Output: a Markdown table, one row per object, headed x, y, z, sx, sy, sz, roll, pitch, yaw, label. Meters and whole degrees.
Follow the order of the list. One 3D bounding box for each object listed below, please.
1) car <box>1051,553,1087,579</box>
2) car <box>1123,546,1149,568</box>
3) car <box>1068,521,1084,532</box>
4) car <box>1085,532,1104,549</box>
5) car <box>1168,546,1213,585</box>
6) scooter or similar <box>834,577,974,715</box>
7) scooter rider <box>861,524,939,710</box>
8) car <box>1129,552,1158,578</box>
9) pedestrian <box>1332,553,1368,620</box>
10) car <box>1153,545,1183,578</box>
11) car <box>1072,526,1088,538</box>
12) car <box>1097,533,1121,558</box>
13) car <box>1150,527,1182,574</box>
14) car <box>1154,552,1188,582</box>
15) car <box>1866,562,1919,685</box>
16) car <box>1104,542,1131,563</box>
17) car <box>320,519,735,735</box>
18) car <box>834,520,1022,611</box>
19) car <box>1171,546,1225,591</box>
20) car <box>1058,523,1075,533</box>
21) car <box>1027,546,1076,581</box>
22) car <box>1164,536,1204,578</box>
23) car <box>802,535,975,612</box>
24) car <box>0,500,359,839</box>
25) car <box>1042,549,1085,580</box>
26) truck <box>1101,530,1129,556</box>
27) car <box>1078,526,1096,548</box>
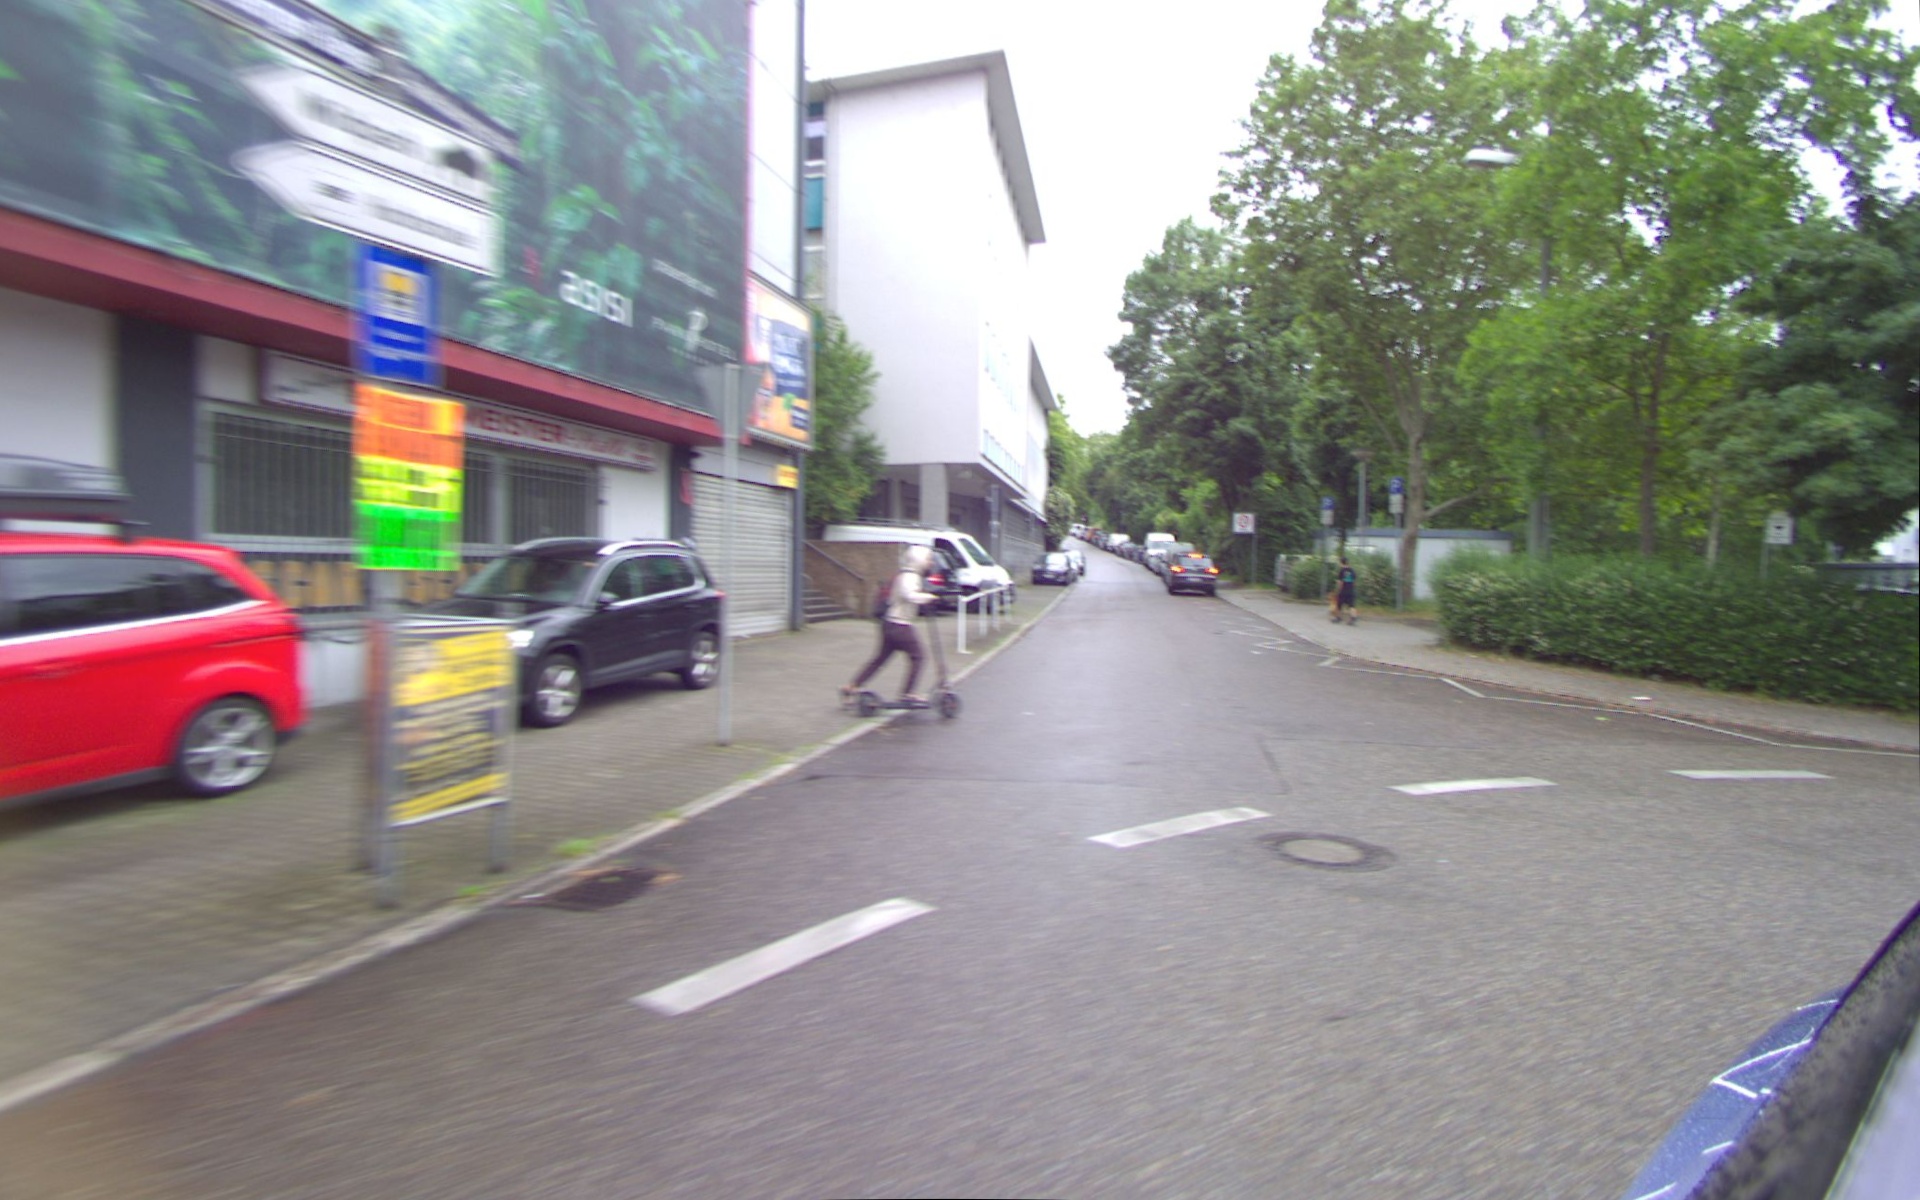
| x | y | z | sx | sy | sz | roll | pitch | yaw | label |
| --- | --- | --- | --- | --- | --- | --- | --- | --- | --- |
| 6.857 | -2.129 | 63.153 | 1.879 | 1.520 | 3.989 | 2 | 3 | 11 | car |
| 16.051 | -3.950 | 92.326 | 1.875 | 1.964 | 3.997 | 1 | 3 | 4 | car |
| 17.782 | -11.299 | 155.129 | 1.764 | 1.528 | 4.006 | 1 | 3 | -4 | car |
| 16.265 | -7.132 | 122.291 | 1.874 | 1.964 | 4.000 | 1 | 3 | 2 | car |
| 10.618 | -1.625 | 46.868 | 1.879 | 1.671 | 3.989 | 2 | 3 | 11 | car |
| -0.592 | 0.451 | 10.482 | 1.380 | 1.338 | 0.806 | 0 | 3 | -4 | scooter or similar |
| -0.633 | 0.149 | 10.463 | 0.766 | 1.843 | 0.806 | 0 | 3 | -5 | scooter rider |
| 15.167 | -2.942 | 83.798 | 1.875 | 2.059 | 3.997 | 1 | 3 | 4 | car |
| 9.534 | -0.343 | 24.766 | 0.693 | 1.586 | 0.620 | 1 | 3 | 14 | pedestrian |
| 13.701 | -2.537 | 66.818 | 1.879 | 2.059 | 3.989 | 2 | 3 | 11 | car |
| 16.547 | -9.296 | 139.317 | 1.766 | 1.528 | 4.001 | 1 | 3 | 1 | car |
| 16.384 | -6.016 | 111.443 | 1.757 | 2.660 | 4.005 | 1 | 3 | -3 | car |
| 15.091 | -3.638 | 74.259 | 2.188 | 3.322 | 5.065 | 2 | 3 | 11 | car |
| 12.526 | -1.995 | 60.197 | 1.879 | 1.671 | 3.989 | 2 | 3 | 11 | car |
| 16.130 | 0.462 | 15.352 | 1.613 | 1.984 | 4.195 | 5 | 2 | 14 | car |
| 15.285 | -4.609 | 98.458 | 1.873 | 1.964 | 4.003 | 1 | 3 | -1 | car |
| -4.179 | 0.110 | 10.537 | 1.906 | 1.732 | 3.982 | 3 | 3 | 16 | car |
| -0.883 | -1.013 | 28.037 | 4.832 | 2.237 | 1.872 | 3 | 3 | 20 | car |
| 9.396 | -1.280 | 40.145 | 1.879 | 1.671 | 3.989 | 2 | 3 | 11 | car |
| 16.849 | -11.452 | 160.474 | 1.764 | 1.528 | 4.007 | 1 | 3 | -6 | car |
| 4.358 | -1.746 | 47.861 | 1.879 | 1.520 | 3.989 | 2 | 3 | 11 | car |
| 11.798 | -2.286 | 53.472 | 1.879 | 2.100 | 3.989 | 2 | 3 | 11 | car |
| -1.808 | -0.720 | 25.646 | 3.951 | 1.713 | 1.872 | 3 | 4 | 20 | car |
| -5.829 | 0.329 | 5.370 | 1.905 | 1.732 | 4.470 | 2 | 2 | 16 | car |
| 5.554 | -1.919 | 54.035 | 1.879 | 1.520 | 3.989 | 2 | 3 | 11 | car |
| 16.187 | -5.985 | 105.864 | 2.010 | 2.660 | 4.006 | 1 | 3 | -5 | truck |
| 16.333 | -8.116 | 130.752 | 1.874 | 2.823 | 4.000 | 1 | 3 | 2 | car |
